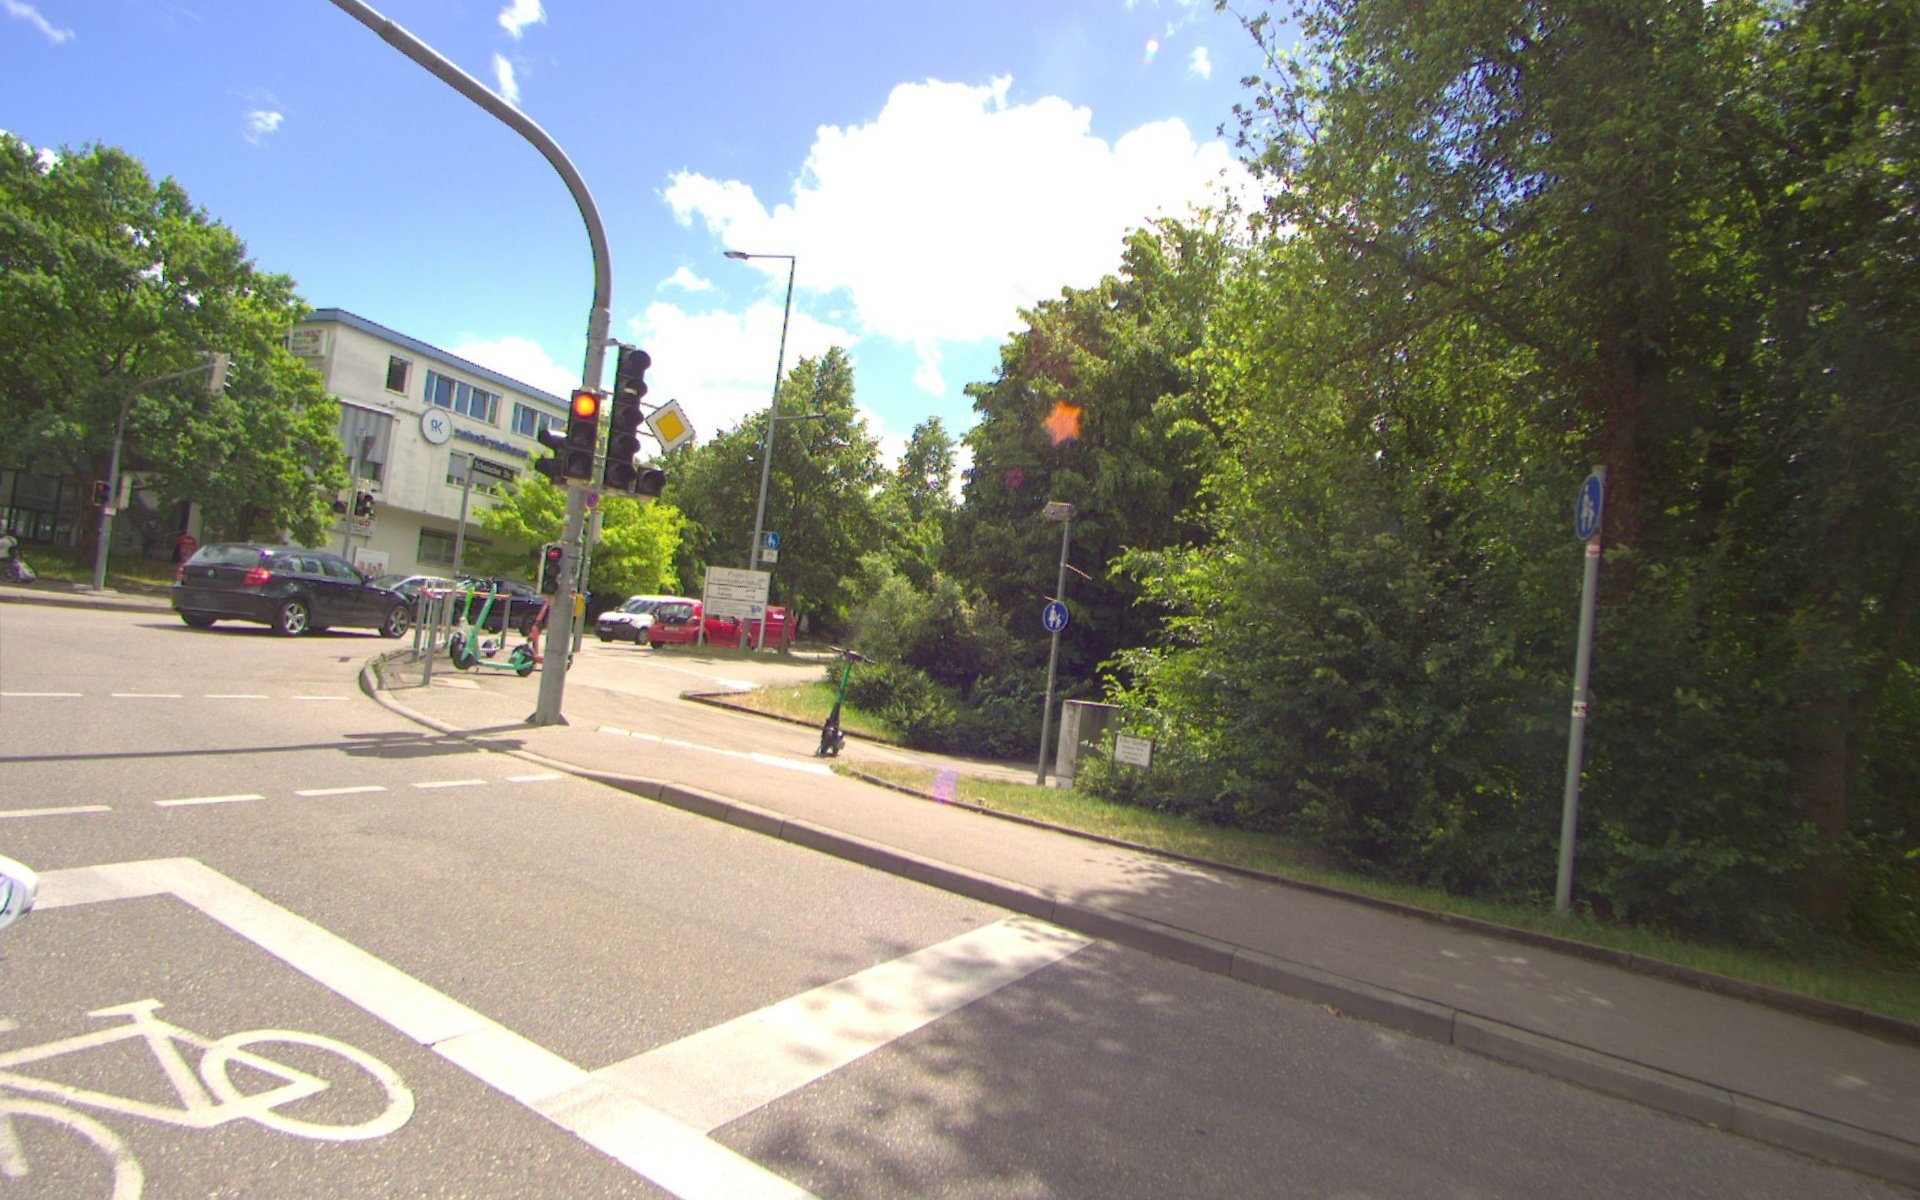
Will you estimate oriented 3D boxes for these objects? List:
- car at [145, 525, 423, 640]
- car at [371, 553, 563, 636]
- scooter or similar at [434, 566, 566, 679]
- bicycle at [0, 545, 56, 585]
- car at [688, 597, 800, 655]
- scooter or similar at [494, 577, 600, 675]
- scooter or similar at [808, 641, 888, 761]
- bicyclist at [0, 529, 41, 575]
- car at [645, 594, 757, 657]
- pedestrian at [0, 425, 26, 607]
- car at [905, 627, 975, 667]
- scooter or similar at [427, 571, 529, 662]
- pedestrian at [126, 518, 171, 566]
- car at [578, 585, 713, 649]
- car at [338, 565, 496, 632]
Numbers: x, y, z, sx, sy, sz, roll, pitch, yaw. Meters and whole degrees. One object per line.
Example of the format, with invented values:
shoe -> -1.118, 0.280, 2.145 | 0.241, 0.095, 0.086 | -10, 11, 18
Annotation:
car -> -11.076, -0.219, 16.883 | 1.725, 1.505, 4.001 | 6, -1, 2
car -> -13.941, -0.084, 28.749 | 1.964, 1.737, 4.574 | 7, -2, 25
scooter or similar -> -5.924, 0.318, 13.005 | 0.455, 1.292, 1.344 | 8, -1, 38
bicycle -> -24.126, -0.927, 25.446 | 1.773, 0.828, 0.795 | 8, -2, 6
car -> -8.735, 1.119, 41.108 | 1.964, 1.885, 4.822 | 5, -3, 22
scooter or similar -> -5.979, 0.399, 14.638 | 0.547, 1.254, 1.231 | 8, -3, 23
scooter or similar -> -1.385, 1.234, 12.271 | 0.706, 1.287, 1.243 | 10, -7, -8
bicyclist -> -24.002, -1.230, 25.441 | 0.624, 1.034, 0.795 | 7, -2, 5
car -> -7.467, 0.793, 29.286 | 1.518, 1.458, 3.199 | 7, -2, 19
pedestrian -> -5.113, 0.008, 4.594 | 0.729, 1.829, 0.871 | 7, -1, 28
car -> -0.930, 2.345, 49.246 | 1.962, 1.571, 4.526 | 7, -2, 17
scooter or similar -> -6.994, 0.266, 14.665 | 0.533, 1.168, 1.362 | 9, -3, 7
pedestrian -> -30.724, -2.197, 38.099 | 0.890, 1.662, 0.771 | 7, -1, 17
car -> -11.099, 0.658, 35.891 | 1.963, 1.737, 4.576 | 7, -2, 22
car -> -16.928, 0.010, 31.577 | 1.963, 1.573, 3.923 | 7, -2, 21
